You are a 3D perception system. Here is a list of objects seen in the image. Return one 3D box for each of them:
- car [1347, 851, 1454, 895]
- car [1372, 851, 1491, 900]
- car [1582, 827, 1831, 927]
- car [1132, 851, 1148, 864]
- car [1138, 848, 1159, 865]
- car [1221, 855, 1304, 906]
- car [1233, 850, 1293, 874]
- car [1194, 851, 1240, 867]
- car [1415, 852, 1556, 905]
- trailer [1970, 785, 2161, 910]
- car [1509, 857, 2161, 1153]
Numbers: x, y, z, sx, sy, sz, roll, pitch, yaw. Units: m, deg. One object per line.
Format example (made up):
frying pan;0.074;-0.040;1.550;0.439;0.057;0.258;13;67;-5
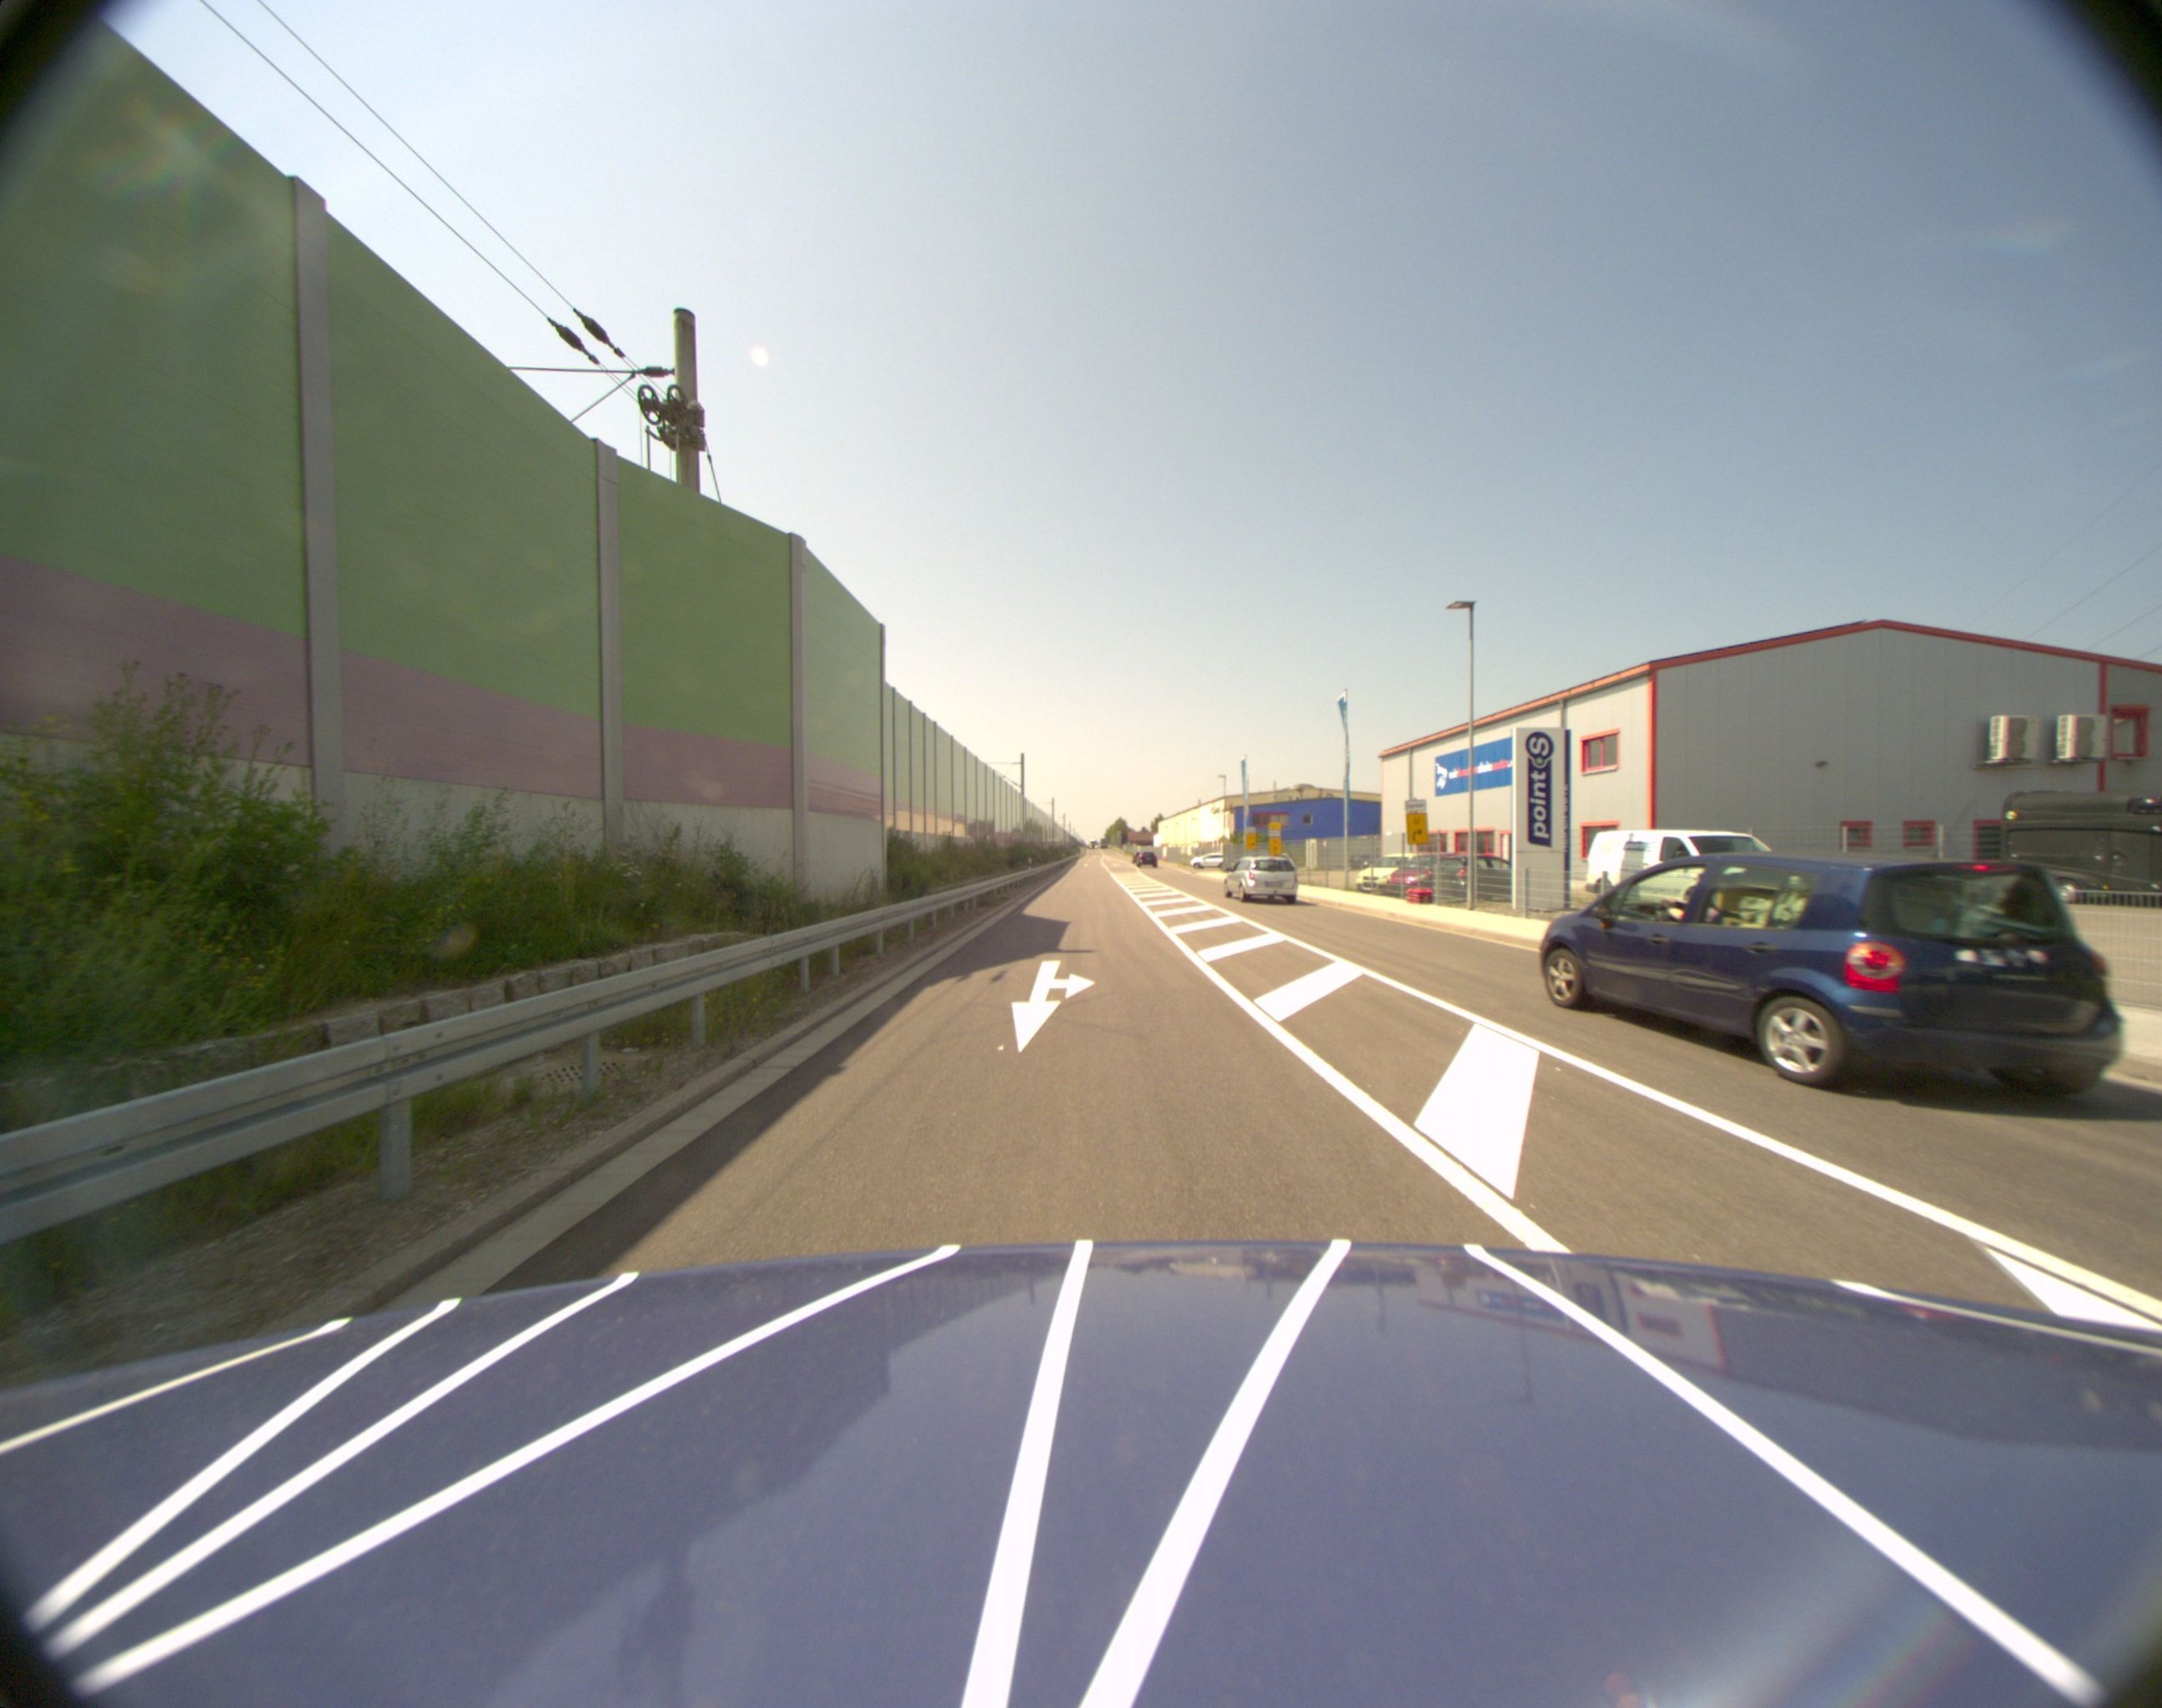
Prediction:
car;11.943;0.653;28.330;4.101;1.485;1.739;-1;0;-34
car;11.919;0.677;25.773;4.007;1.485;1.739;-1;0;-32
car;14.128;0.416;17.641;1.998;2.002;4.680;0;1;2
car;7.635;0.423;98.813;1.746;1.584;3.796;1;0;1
car;6.772;0.191;76.769;1.885;1.607;4.523;2;0;3
car;5.877;0.807;25.038;1.768;1.457;4.259;1;0;1
car;11.710;0.488;48.841;3.491;1.456;1.587;-1;1;-24
car;13.244;0.514;73.926;4.152;1.493;1.778;-1;0;21
car;12.349;0.690;23.195;4.005;1.485;1.740;-1;0;-25
trailer;25.630;-0.193;18.415;2.167;2.832;5.123;-1;1;1
car;5.478;0.859;6.241;1.672;1.591;3.972;1;0;1
